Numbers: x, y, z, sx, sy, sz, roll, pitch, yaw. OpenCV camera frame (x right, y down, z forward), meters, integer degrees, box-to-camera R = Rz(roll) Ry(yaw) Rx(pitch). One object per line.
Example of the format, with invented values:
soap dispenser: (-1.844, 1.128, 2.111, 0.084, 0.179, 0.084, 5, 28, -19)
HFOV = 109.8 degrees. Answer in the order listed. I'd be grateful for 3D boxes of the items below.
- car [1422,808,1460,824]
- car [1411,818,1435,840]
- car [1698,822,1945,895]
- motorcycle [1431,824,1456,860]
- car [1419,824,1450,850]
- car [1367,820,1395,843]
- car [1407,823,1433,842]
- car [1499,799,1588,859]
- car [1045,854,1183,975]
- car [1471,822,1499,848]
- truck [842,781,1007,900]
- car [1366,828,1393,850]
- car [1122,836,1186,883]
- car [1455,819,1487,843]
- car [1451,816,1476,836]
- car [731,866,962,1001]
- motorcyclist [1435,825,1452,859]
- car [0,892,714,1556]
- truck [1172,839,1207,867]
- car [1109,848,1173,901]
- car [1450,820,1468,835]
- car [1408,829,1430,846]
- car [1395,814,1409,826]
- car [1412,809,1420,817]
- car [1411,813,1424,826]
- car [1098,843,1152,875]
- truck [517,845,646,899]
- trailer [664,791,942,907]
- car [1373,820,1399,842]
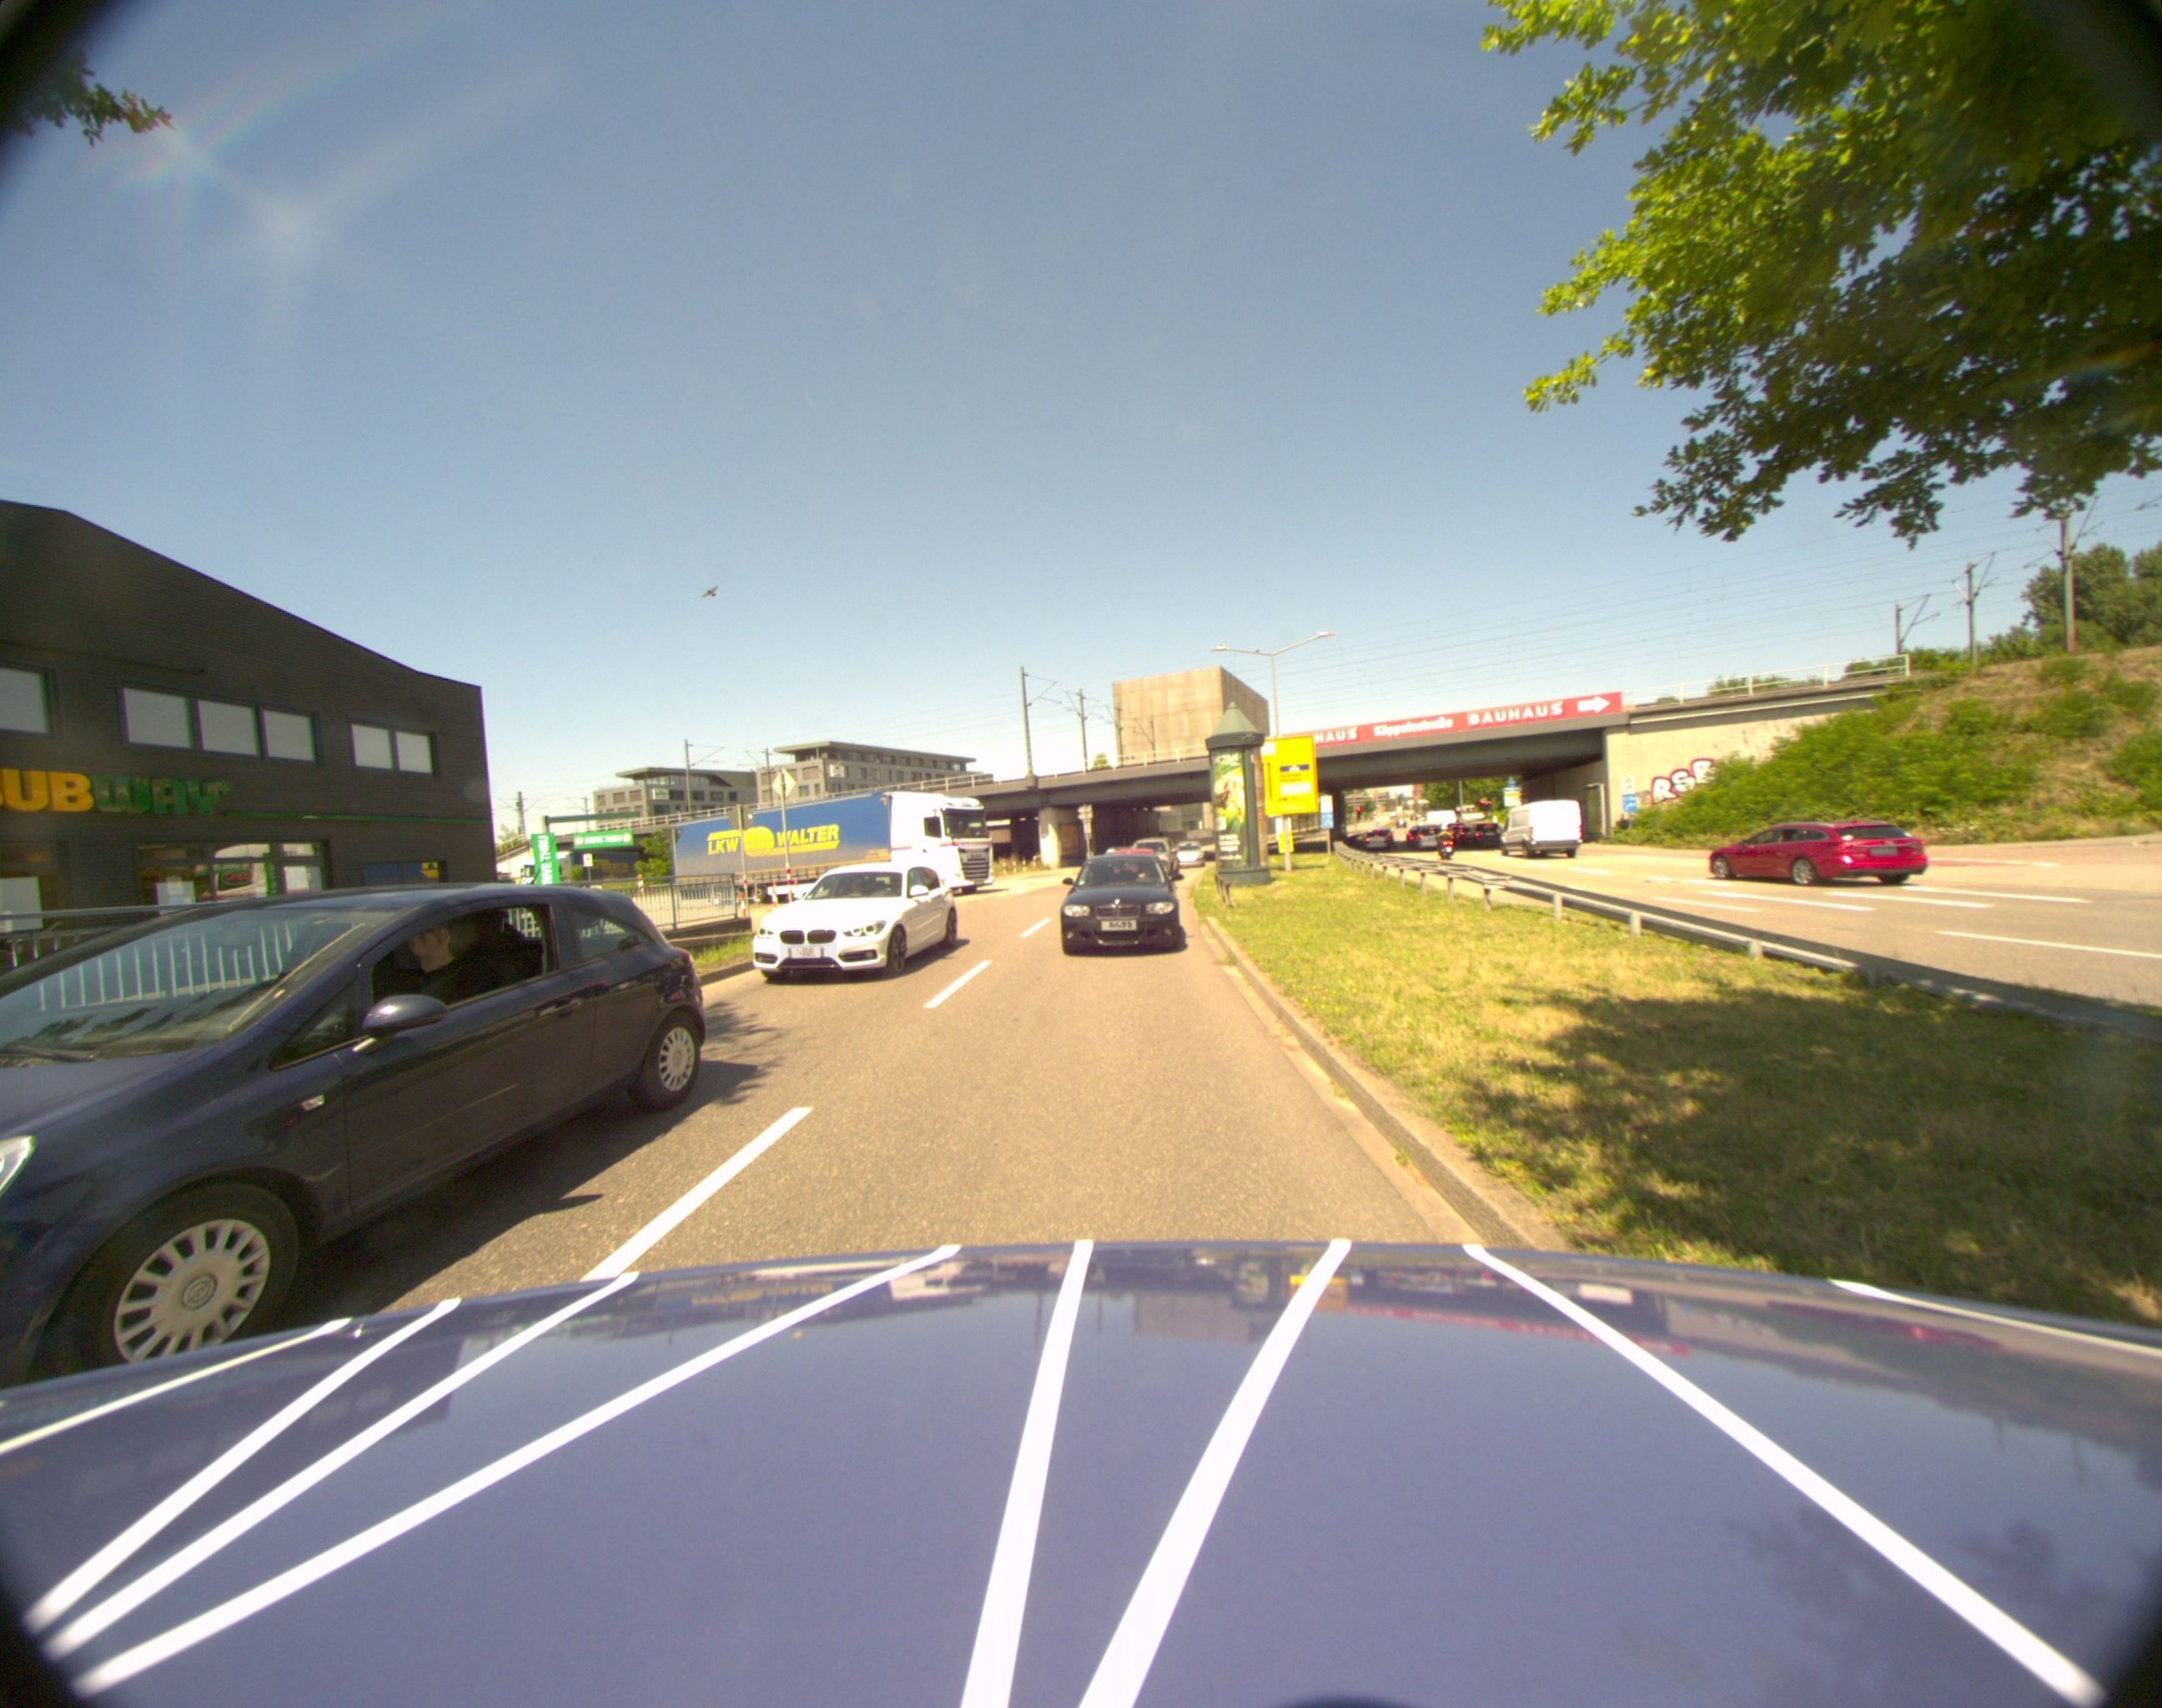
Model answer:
car: (51.473, -5.414, 108.750, 1.999, 2.091, 6.380, -3, 1, -3)
car: (31.220, -2.333, 69.294, 1.904, 1.849, 4.006, -2, 2, 26)
car: (17.248, 0.031, 18.084, 1.834, 1.429, 4.527, -3, 1, 7)
motorcycle: (17.614, -0.593, 36.985, 0.598, 1.669, 2.427, -3, 2, 14)
car: (22.789, -1.109, 48.952, 1.635, 1.558, 4.079, -1, 1, 27)
car: (26.213, -1.976, 66.258, 1.904, 1.849, 4.006, -2, 2, 26)
car: (28.316, -1.818, 63.478, 1.616, 1.468, 3.438, -2, 2, 30)
car: (21.588, -1.079, 35.746, 2.097, 2.485, 5.816, -2, 0, 17)
car: (0.691, 0.796, 11.933, 1.680, 1.409, 4.058, -3, 1, 8)
car: (26.348, -1.283, 49.631, 1.516, 1.533, 3.685, -2, 2, 27)
truck: (-6.076, -0.428, 29.228, 5.747, 4.078, 2.580, -3, 1, 32)
car: (20.952, -1.083, 53.296, 1.636, 1.395, 4.227, -1, 2, 23)
car: (3.040, 0.195, 31.008, 1.843, 1.686, 3.703, -3, 1, 16)
car: (28.918, -1.706, 56.377, 1.773, 1.658, 4.020, -4, 0, 23)
car: (31.059, -2.246, 61.615, 1.571, 1.494, 3.412, -2, 2, 30)
car: (-3.073, 0.969, 10.914, 1.762, 1.435, 4.053, -1, 1, 4)
motorcyclist: (17.543, -0.566, 36.751, 0.588, 1.617, 0.563, -3, 2, 15)
car: (-3.440, 1.033, 3.218, 1.650, 1.436, 3.891, -3, 0, 3)
truck: (6.471, -0.085, 44.936, 1.729, 1.493, 4.002, -3, 1, 12)
car: (1.728, 0.560, 22.915, 1.646, 1.391, 4.052, -1, 1, 1)
car: (33.788, -2.403, 67.897, 1.183, 1.241, 2.696, -2, 2, 30)
car: (25.884, -1.301, 58.109, 1.268, 1.178, 2.782, -2, 2, 30)
car: (55.067, -5.813, 130.392, 1.995, 2.002, 4.005, -2, 2, 24)
car: (89.143, -10.925, 202.000, 1.836, 2.002, 4.005, -2, 2, 23)
car: (54.066, -5.581, 122.052, 1.704, 2.002, 4.005, -2, 2, 24)
car: (2.356, 0.224, 39.473, 1.714, 1.434, 4.004, -2, 1, 19)
truck: (-44.991, 1.343, 69.572, 2.753, 4.080, 17.424, -3, 1, -9)
trailer: (-12.408, 0.000, 32.824, 13.871, 4.067, 2.504, -3, 1, 29)
car: (28.570, -2.173, 71.103, 1.904, 1.849, 4.006, -2, 2, 26)
